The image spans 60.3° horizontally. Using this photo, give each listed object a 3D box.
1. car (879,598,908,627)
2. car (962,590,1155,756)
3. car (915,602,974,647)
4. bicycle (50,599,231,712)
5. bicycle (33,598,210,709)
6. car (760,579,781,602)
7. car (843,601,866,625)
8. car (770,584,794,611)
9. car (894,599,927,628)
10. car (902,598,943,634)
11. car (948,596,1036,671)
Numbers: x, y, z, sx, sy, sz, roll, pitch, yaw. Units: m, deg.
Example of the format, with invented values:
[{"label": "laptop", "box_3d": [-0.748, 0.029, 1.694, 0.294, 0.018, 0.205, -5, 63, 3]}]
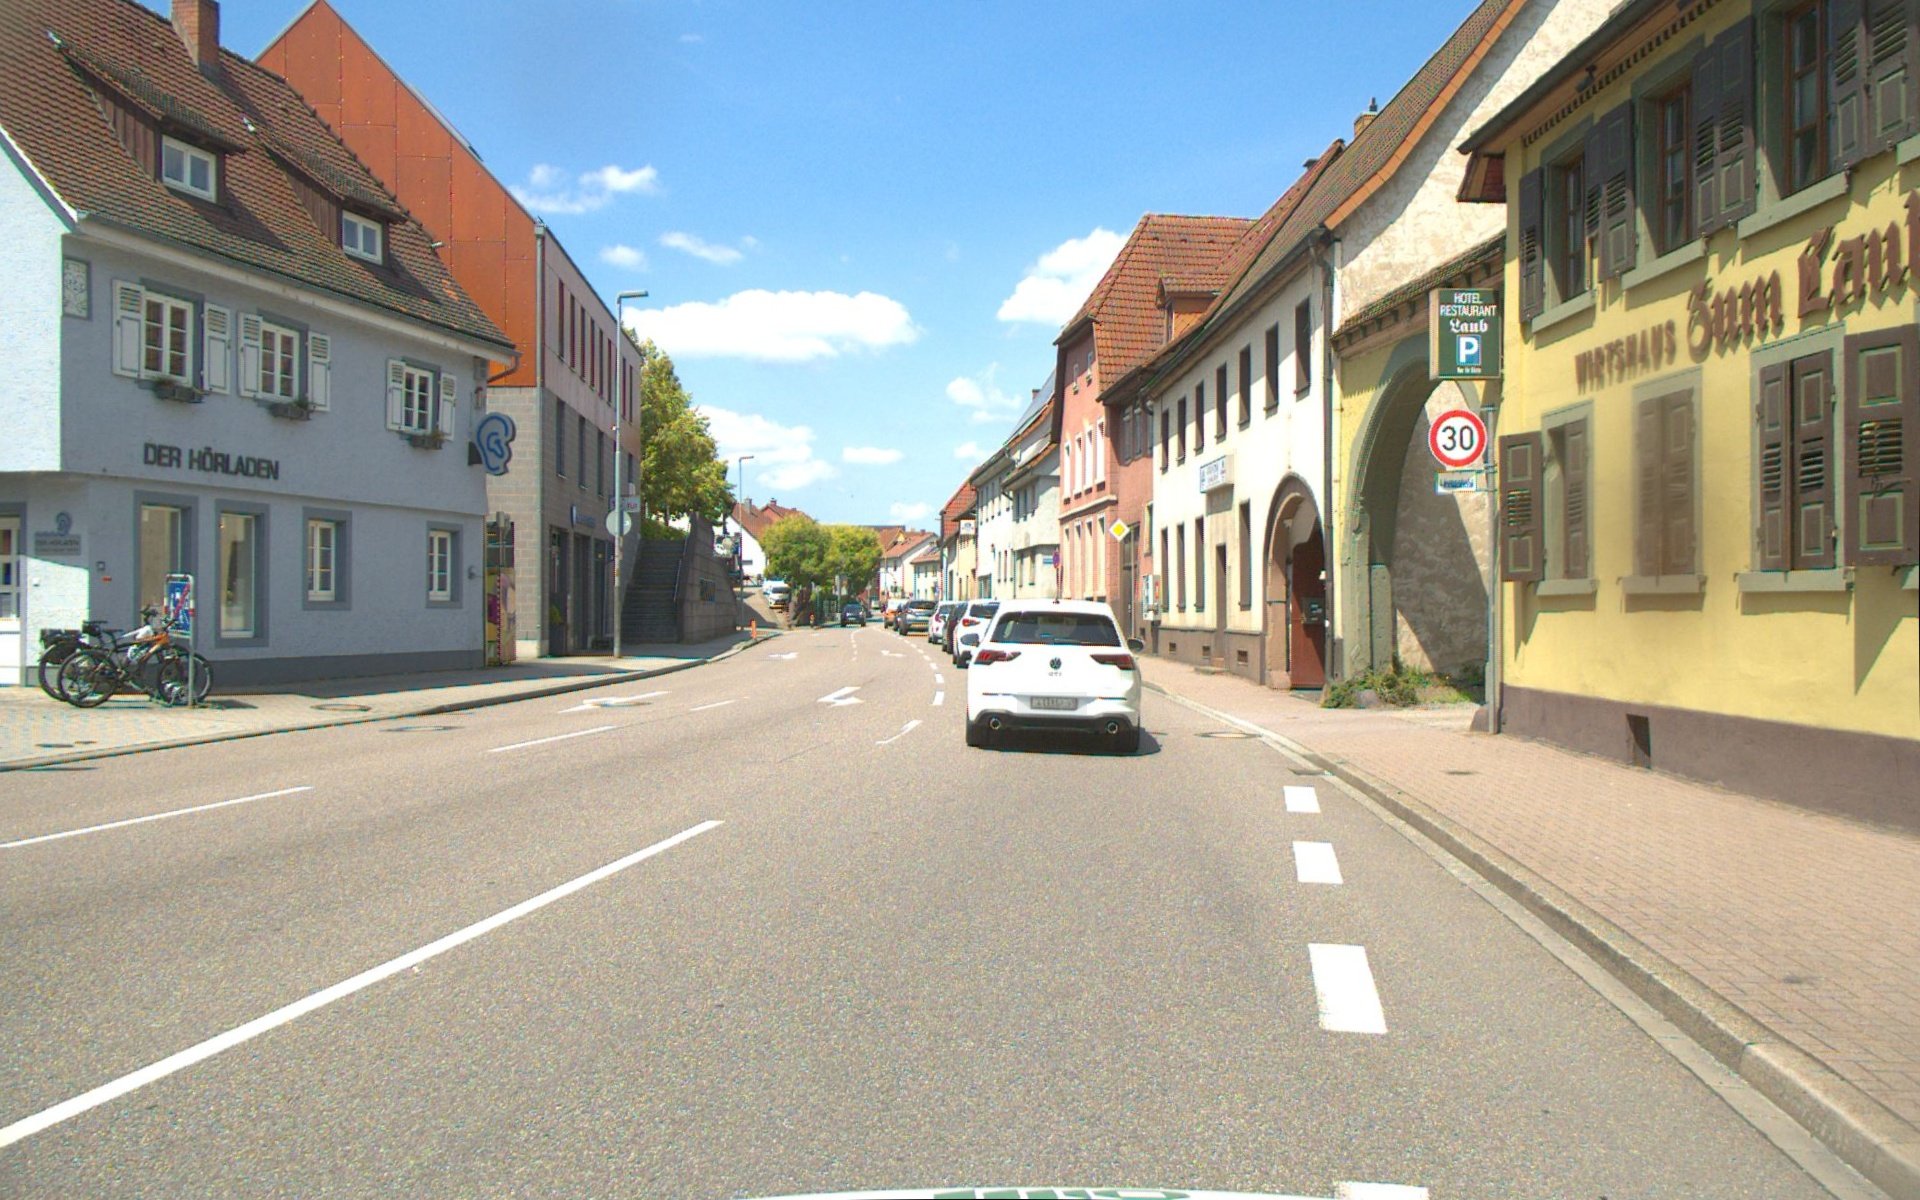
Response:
[{"label": "car", "box_3d": [-4.296, 0.798, 106.393, 1.740, 1.796, 3.997, 0, 0, -3]}, {"label": "car", "box_3d": [0.975, 0.713, 17.490, 1.770, 1.493, 4.000, 2, -1, 1]}, {"label": "car", "box_3d": [-0.587, 0.850, 58.813, 1.772, 1.493, 3.996, 2, -1, -5]}, {"label": "bicycle", "box_3d": [-9.777, 0.664, 19.770, 1.813, 1.270, 0.570, 3, 1, -40]}, {"label": "bicycle", "box_3d": [-10.233, 0.658, 20.223, 1.813, 1.270, 0.570, 3, 1, -40]}, {"label": "car", "box_3d": [-14.788, -0.752, 129.075, 1.546, 1.385, 3.854, 0, 5, -5]}, {"label": "car", "box_3d": [-7.725, 0.948, 121.018, 1.636, 1.686, 4.014, 0, 0, -4]}, {"label": "car", "box_3d": [-12.664, -0.185, 117.834, 1.660, 1.569, 3.854, 0, 5, -5]}, {"label": "car", "box_3d": [-2.715, 0.723, 90.689, 1.740, 1.565, 3.998, 0, 0, -2]}, {"label": "car", "box_3d": [-1.689, 0.693, 73.752, 1.740, 1.565, 3.998, 0, 0, -2]}, {"label": "car", "box_3d": [0.657, 0.720, 36.461, 1.771, 1.493, 3.999, 2, -1, -1]}]
